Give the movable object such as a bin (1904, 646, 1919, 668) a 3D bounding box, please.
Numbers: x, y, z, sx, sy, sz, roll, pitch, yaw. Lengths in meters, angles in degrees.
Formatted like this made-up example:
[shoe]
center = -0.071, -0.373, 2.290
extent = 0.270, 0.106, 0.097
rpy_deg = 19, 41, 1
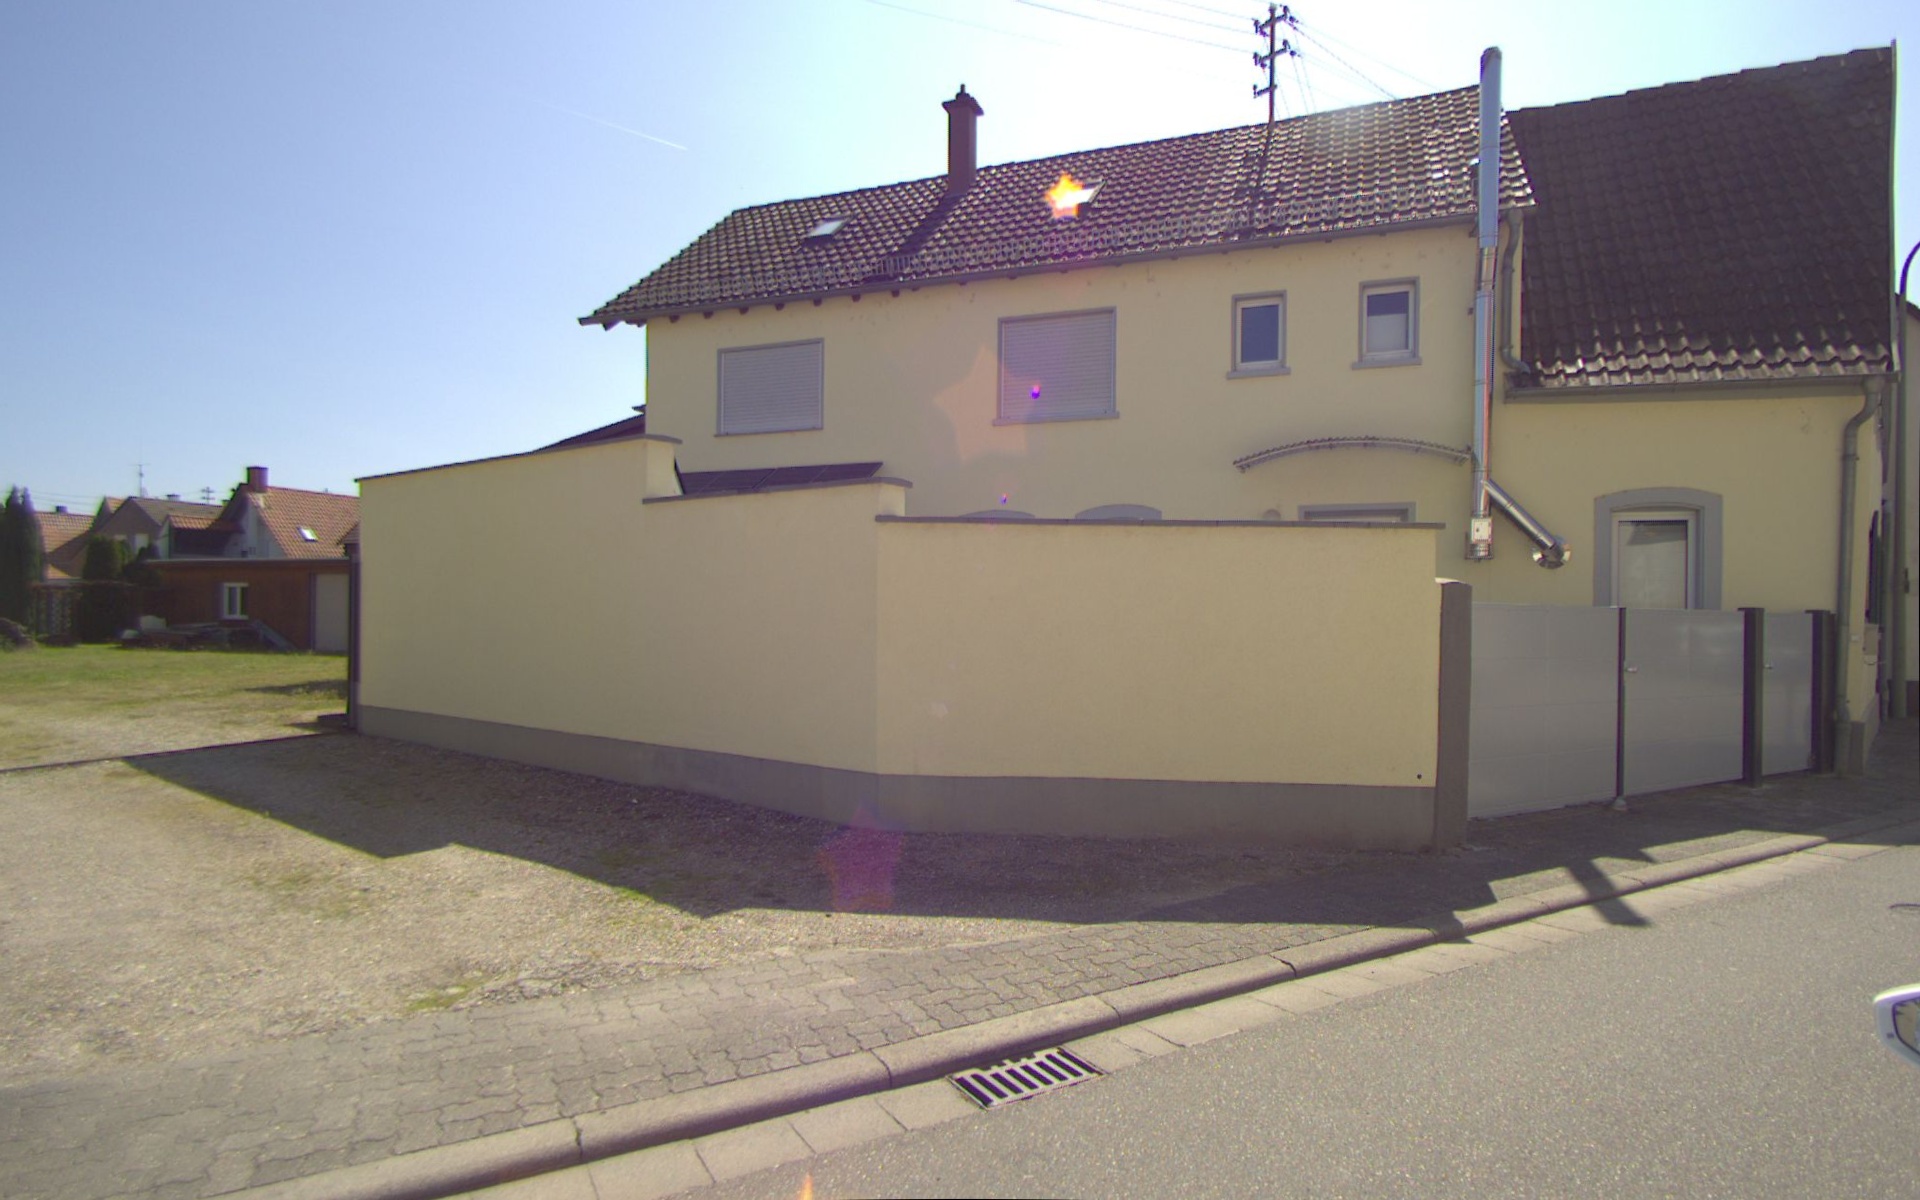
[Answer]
[movable object such as a bin]
center = 40.360, 2.409, 42.519
extent = 0.548, 0.926, 0.533
rpy_deg = 2, -1, -43
